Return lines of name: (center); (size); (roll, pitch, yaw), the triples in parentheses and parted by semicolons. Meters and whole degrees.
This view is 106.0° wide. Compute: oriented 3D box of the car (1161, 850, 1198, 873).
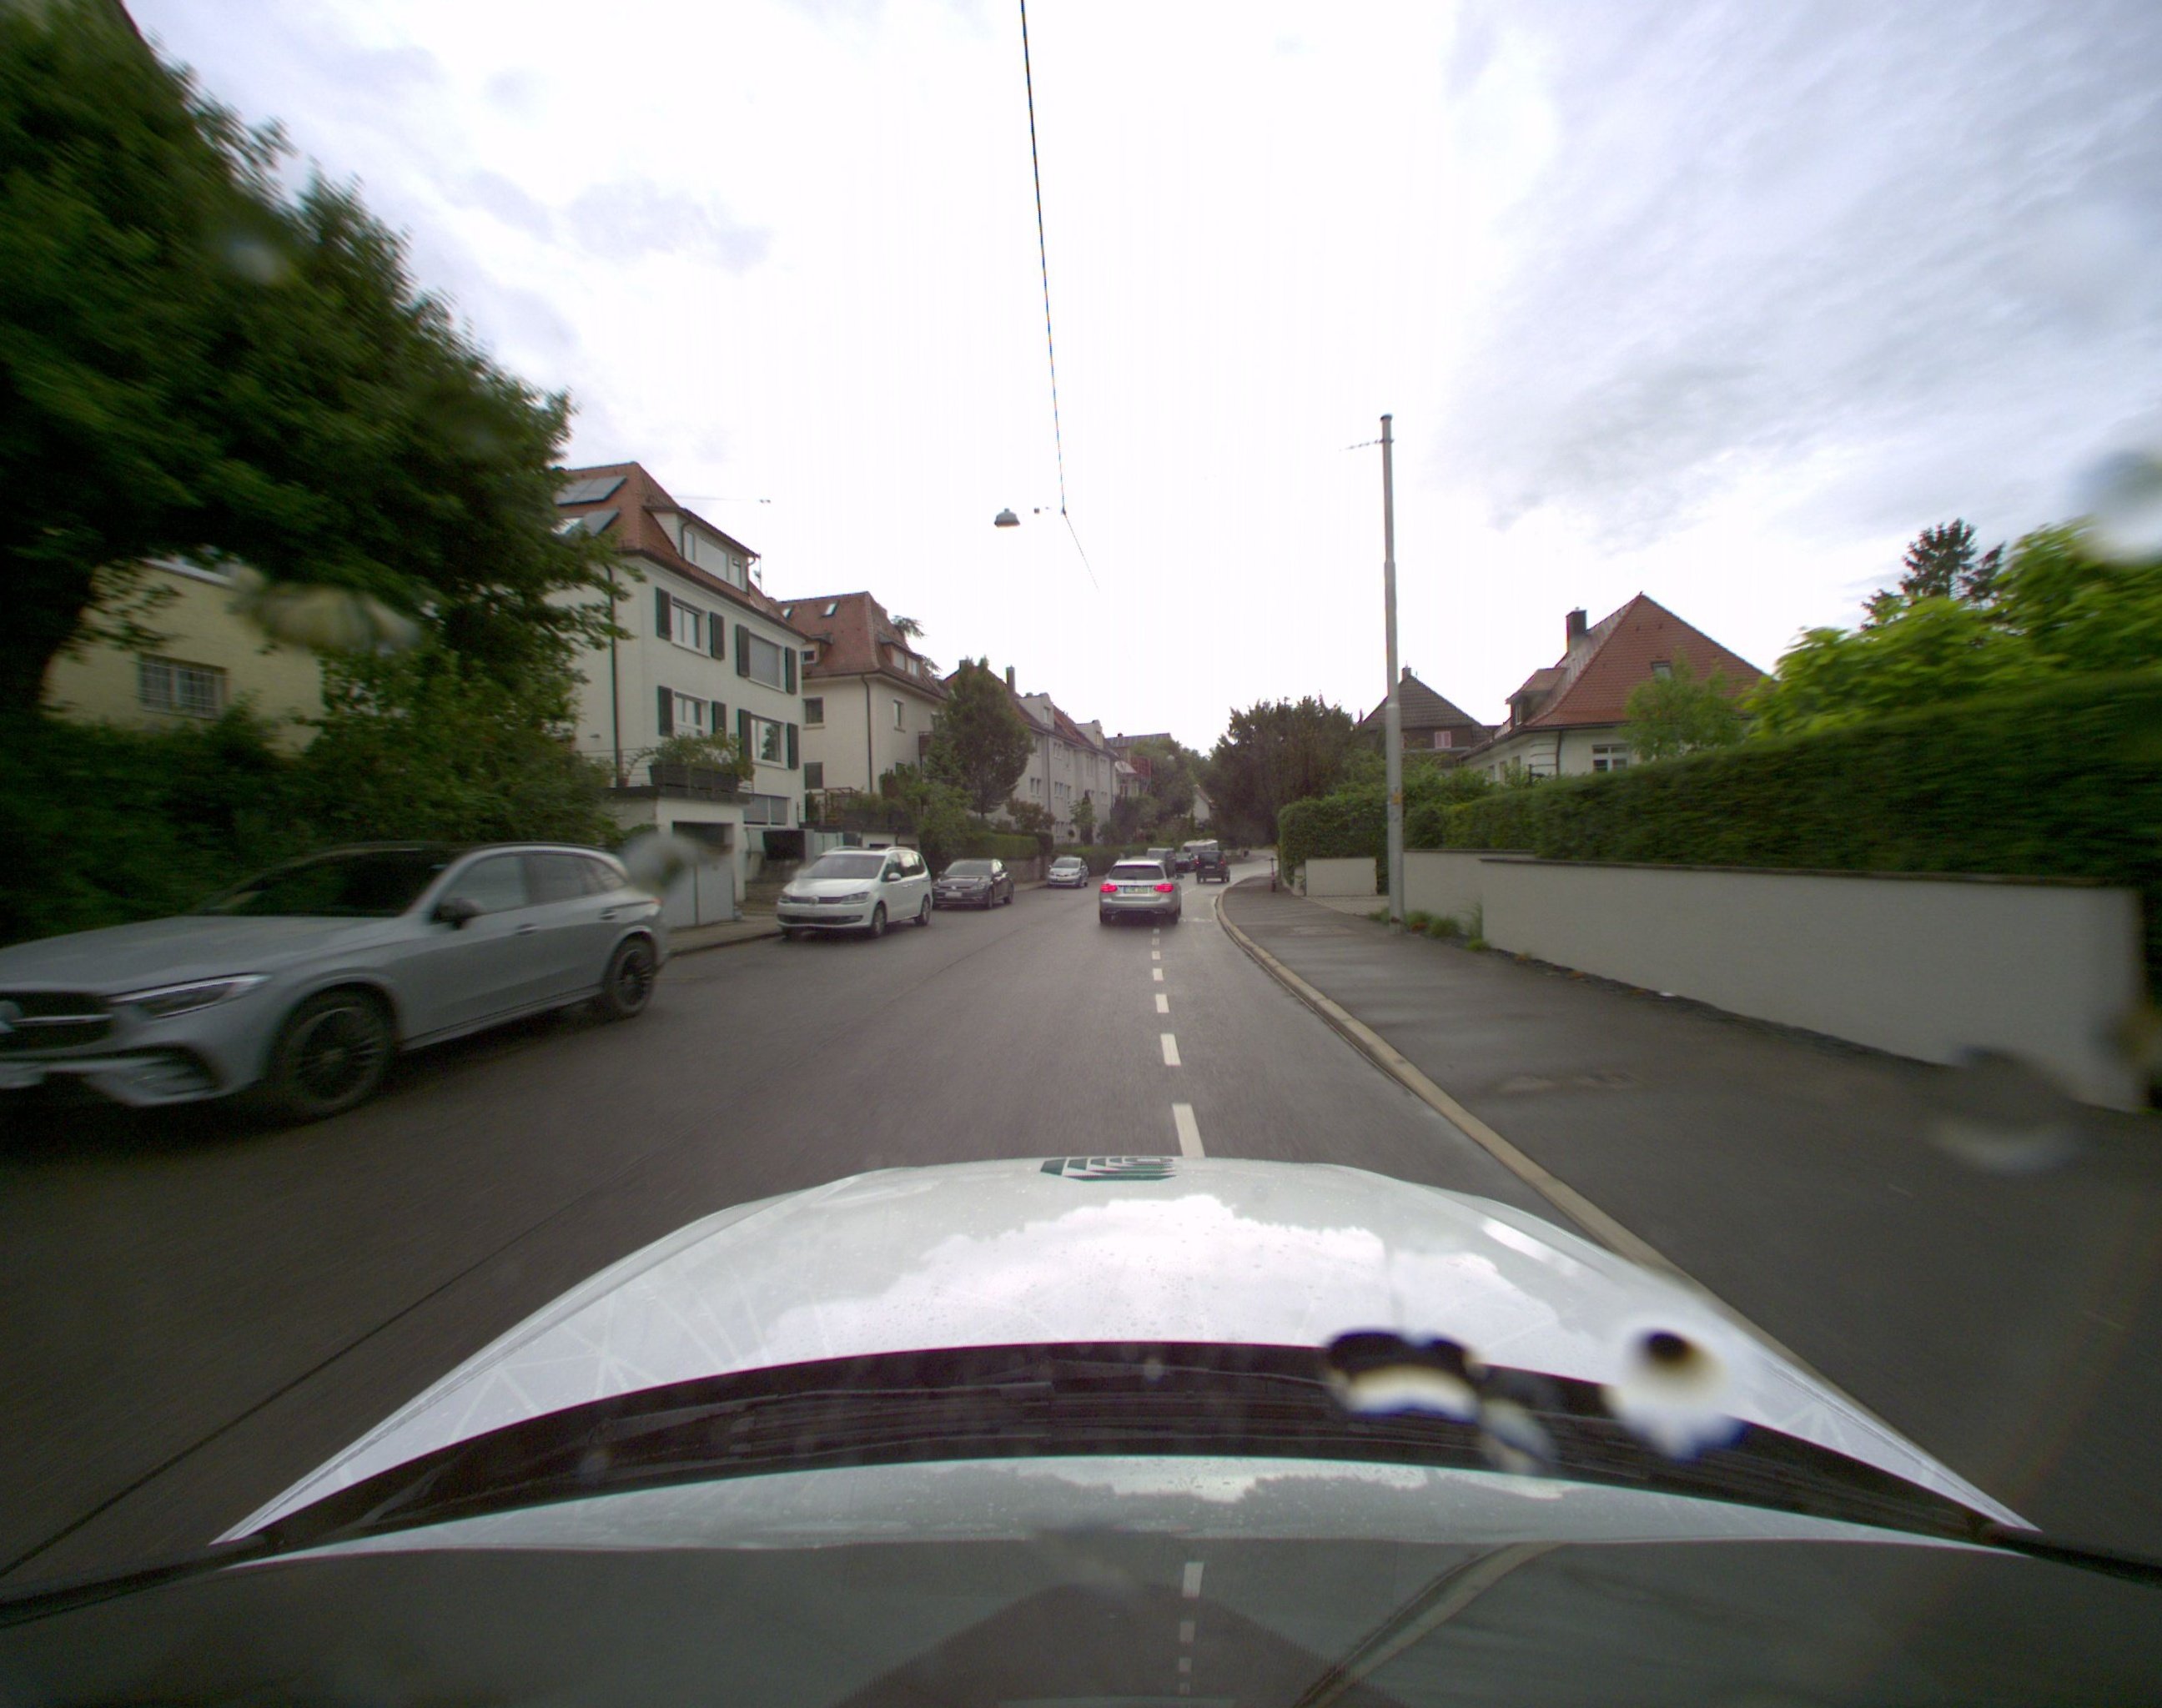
car: (8.298, 0.624, 68.289); (1.976, 1.688, 4.702); (0, 2, 21)

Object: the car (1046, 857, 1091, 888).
car: (-0.584, 0.880, 40.095); (1.595, 1.486, 3.496); (0, 0, 9)

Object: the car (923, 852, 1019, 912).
car: (-3.234, 0.769, 24.768); (1.782, 1.580, 4.147); (2, 1, 8)

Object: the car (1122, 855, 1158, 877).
car: (4.190, 0.788, 57.218); (1.631, 1.417, 4.631); (0, 0, 15)

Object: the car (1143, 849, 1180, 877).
car: (6.220, 0.649, 62.566); (1.815, 2.056, 5.032); (0, 0, 18)

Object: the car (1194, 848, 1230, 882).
car: (7.706, 0.643, 47.711); (1.830, 1.904, 4.014); (0, 0, 13)

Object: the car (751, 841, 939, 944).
car: (-4.498, 0.642, 16.410); (1.984, 1.702, 4.745); (2, 1, 5)

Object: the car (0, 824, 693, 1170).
car: (-5.235, 0.638, 6.233); (1.985, 1.580, 4.766); (2, 1, 3)

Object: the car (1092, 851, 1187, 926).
car: (1.511, 0.721, 19.506); (1.805, 1.556, 4.012); (0, 1, 11)

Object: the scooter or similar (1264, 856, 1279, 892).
scooter or similar: (7.158, 0.738, 30.636); (0.447, 1.307, 1.486); (-2, -1, 10)

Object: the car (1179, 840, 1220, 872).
car: (11.067, 0.105, 75.487); (2.370, 2.771, 6.566); (0, 2, 21)
